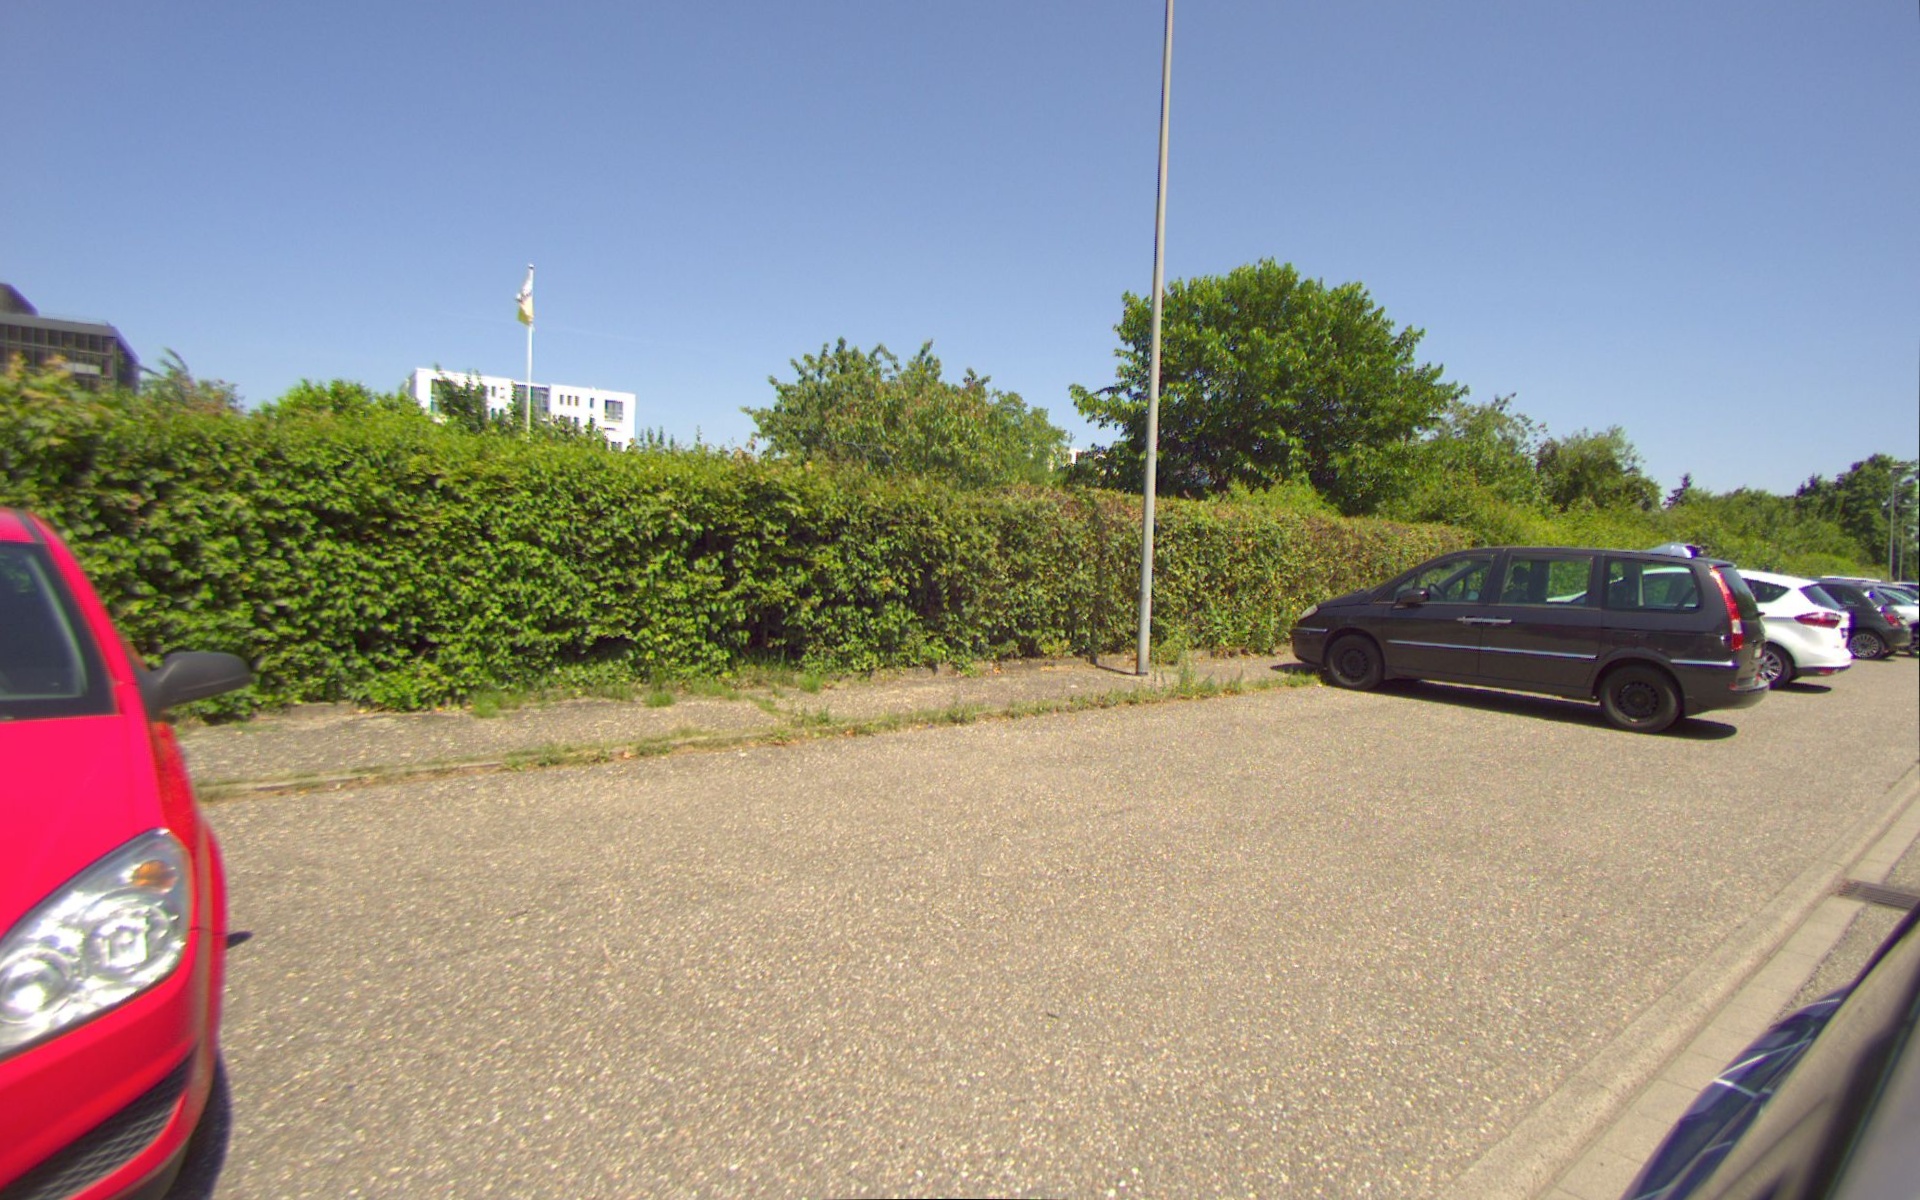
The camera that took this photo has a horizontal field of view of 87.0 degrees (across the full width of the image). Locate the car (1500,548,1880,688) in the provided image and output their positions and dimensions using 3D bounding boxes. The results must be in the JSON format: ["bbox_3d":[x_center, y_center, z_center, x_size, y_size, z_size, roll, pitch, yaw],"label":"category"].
[{"bbox_3d":[10.765,0.156,15.190,1.735,1.597,4.285,0,5,-42],"label":"car"}]

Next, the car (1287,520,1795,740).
[{"bbox_3d":[6.201,0.126,11.225,1.921,1.826,4.459,-1,6,-44],"label":"car"}]

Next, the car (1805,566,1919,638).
[{"bbox_3d":[24.816,0.117,26.428,1.637,1.659,3.966,0,6,-44],"label":"car"}]

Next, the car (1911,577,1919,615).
[{"bbox_3d":[43.560,-0.015,43.251,1.645,1.661,4.035,0,5,-41],"label":"car"}]

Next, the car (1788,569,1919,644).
[{"bbox_3d":[22.511,0.177,24.614,3.456,1.545,1.515,8,6,44],"label":"car"}]

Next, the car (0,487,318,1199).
[{"bbox_3d":[-3.151,0.410,2.608,1.805,1.451,4.061,0,5,-43],"label":"car"}]

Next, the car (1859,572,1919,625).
[{"bbox_3d":[34.370,0.028,35.114,1.818,1.750,4.465,-1,5,-40],"label":"car"}]

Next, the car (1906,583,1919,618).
[{"bbox_3d":[41.479,0.185,41.284,1.651,1.426,4.034,-1,6,-42],"label":"car"}]

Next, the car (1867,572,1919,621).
[{"bbox_3d":[36.139,-0.052,37.137,1.736,1.706,3.981,0,4,-41],"label":"car"}]

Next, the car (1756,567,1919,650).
[{"bbox_3d":[20.522,0.207,22.685,3.966,1.540,1.835,8,6,44],"label":"car"}]

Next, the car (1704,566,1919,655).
[{"bbox_3d":[17.852,0.170,21.096,1.558,1.522,3.399,1,4,-37],"label":"car"}]
